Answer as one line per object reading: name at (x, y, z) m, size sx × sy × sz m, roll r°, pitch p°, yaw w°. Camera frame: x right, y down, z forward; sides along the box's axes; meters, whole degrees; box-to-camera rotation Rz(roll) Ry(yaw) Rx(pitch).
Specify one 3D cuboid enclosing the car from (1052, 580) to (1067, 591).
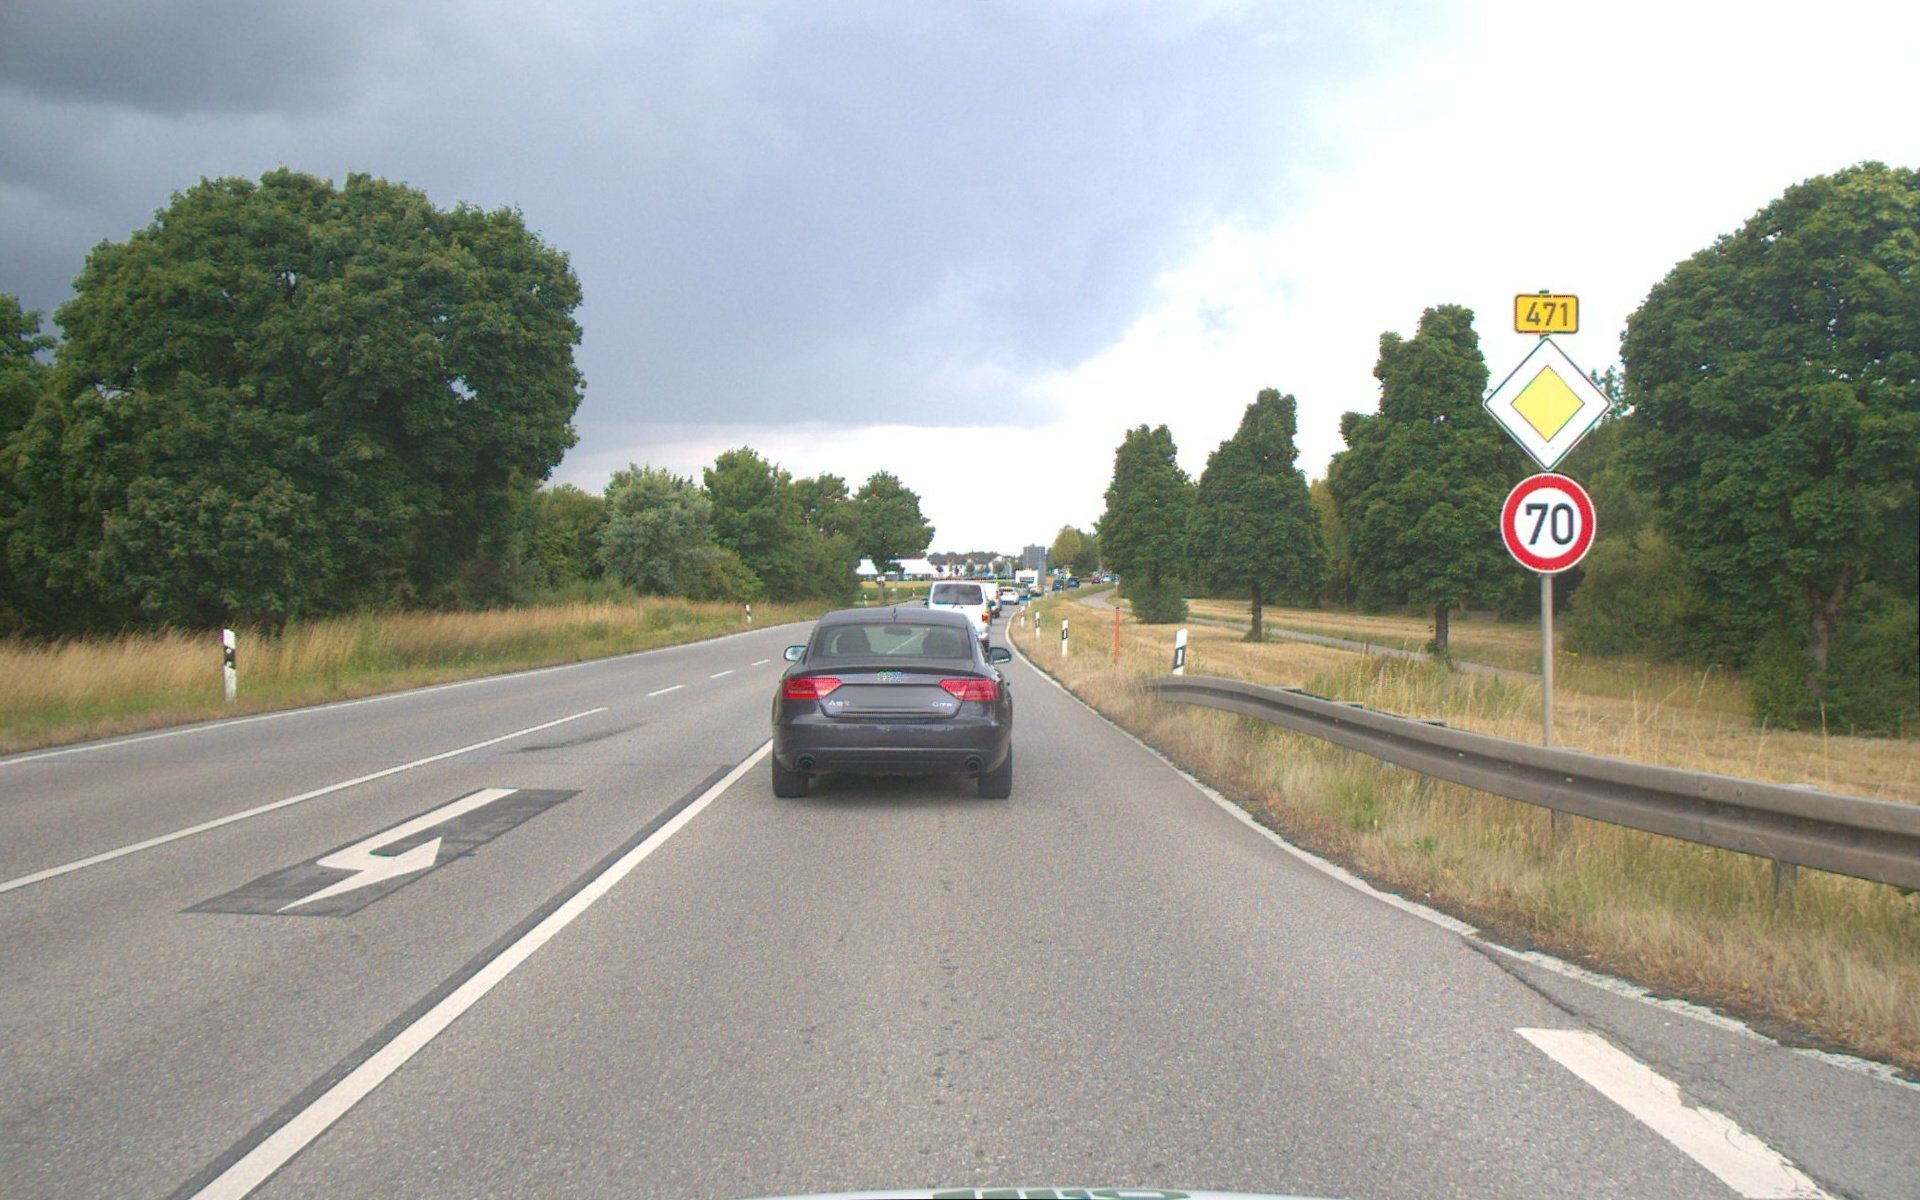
car at (12.923, -1.892, 214.126) m, size 1.684 × 1.477 × 4.000 m, roll 1°, pitch 0°, yaw 0°

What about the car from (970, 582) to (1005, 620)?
car at (1.588, 0.034, 94.760) m, size 1.952 × 2.125 × 4.001 m, roll 0°, pitch 0°, yaw 2°

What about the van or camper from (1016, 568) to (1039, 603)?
van or camper at (6.928, -1.504, 169.475) m, size 2.292 × 3.542 × 5.720 m, roll 0°, pitch 0°, yaw 2°

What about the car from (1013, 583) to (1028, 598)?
car at (5.482, -0.860, 150.274) m, size 1.231 × 1.377 × 3.468 m, roll 0°, pitch 0°, yaw 5°

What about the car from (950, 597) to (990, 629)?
car at (0.497, 0.615, 79.389) m, size 1.758 × 1.489 × 3.249 m, roll 0°, pitch 0°, yaw 2°

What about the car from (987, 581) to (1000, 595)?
car at (4.335, -1.577, 216.328) m, size 1.562 × 1.834 × 3.200 m, roll 1°, pitch 0°, yaw 0°

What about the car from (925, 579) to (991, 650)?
car at (-0.090, 0.381, 47.479) m, size 1.801 × 1.915 × 3.999 m, roll 1°, pitch 1°, yaw -1°

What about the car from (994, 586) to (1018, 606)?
car at (3.709, -0.331, 132.967) m, size 1.699 × 1.541 × 3.749 m, roll 0°, pitch 0°, yaw 5°

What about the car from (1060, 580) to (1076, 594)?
car at (15.441, -1.878, 237.556) m, size 1.953 × 2.049 × 3.999 m, roll 0°, pitch 0°, yaw -1°

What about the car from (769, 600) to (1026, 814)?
car at (-0.467, 0.737, 13.389) m, size 1.746 × 1.400 × 3.999 m, roll 1°, pitch 1°, yaw -1°

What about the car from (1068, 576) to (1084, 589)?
car at (15.104, -2.272, 215.848) m, size 1.784 × 1.624 × 4.000 m, roll 1°, pitch 0°, yaw 0°
